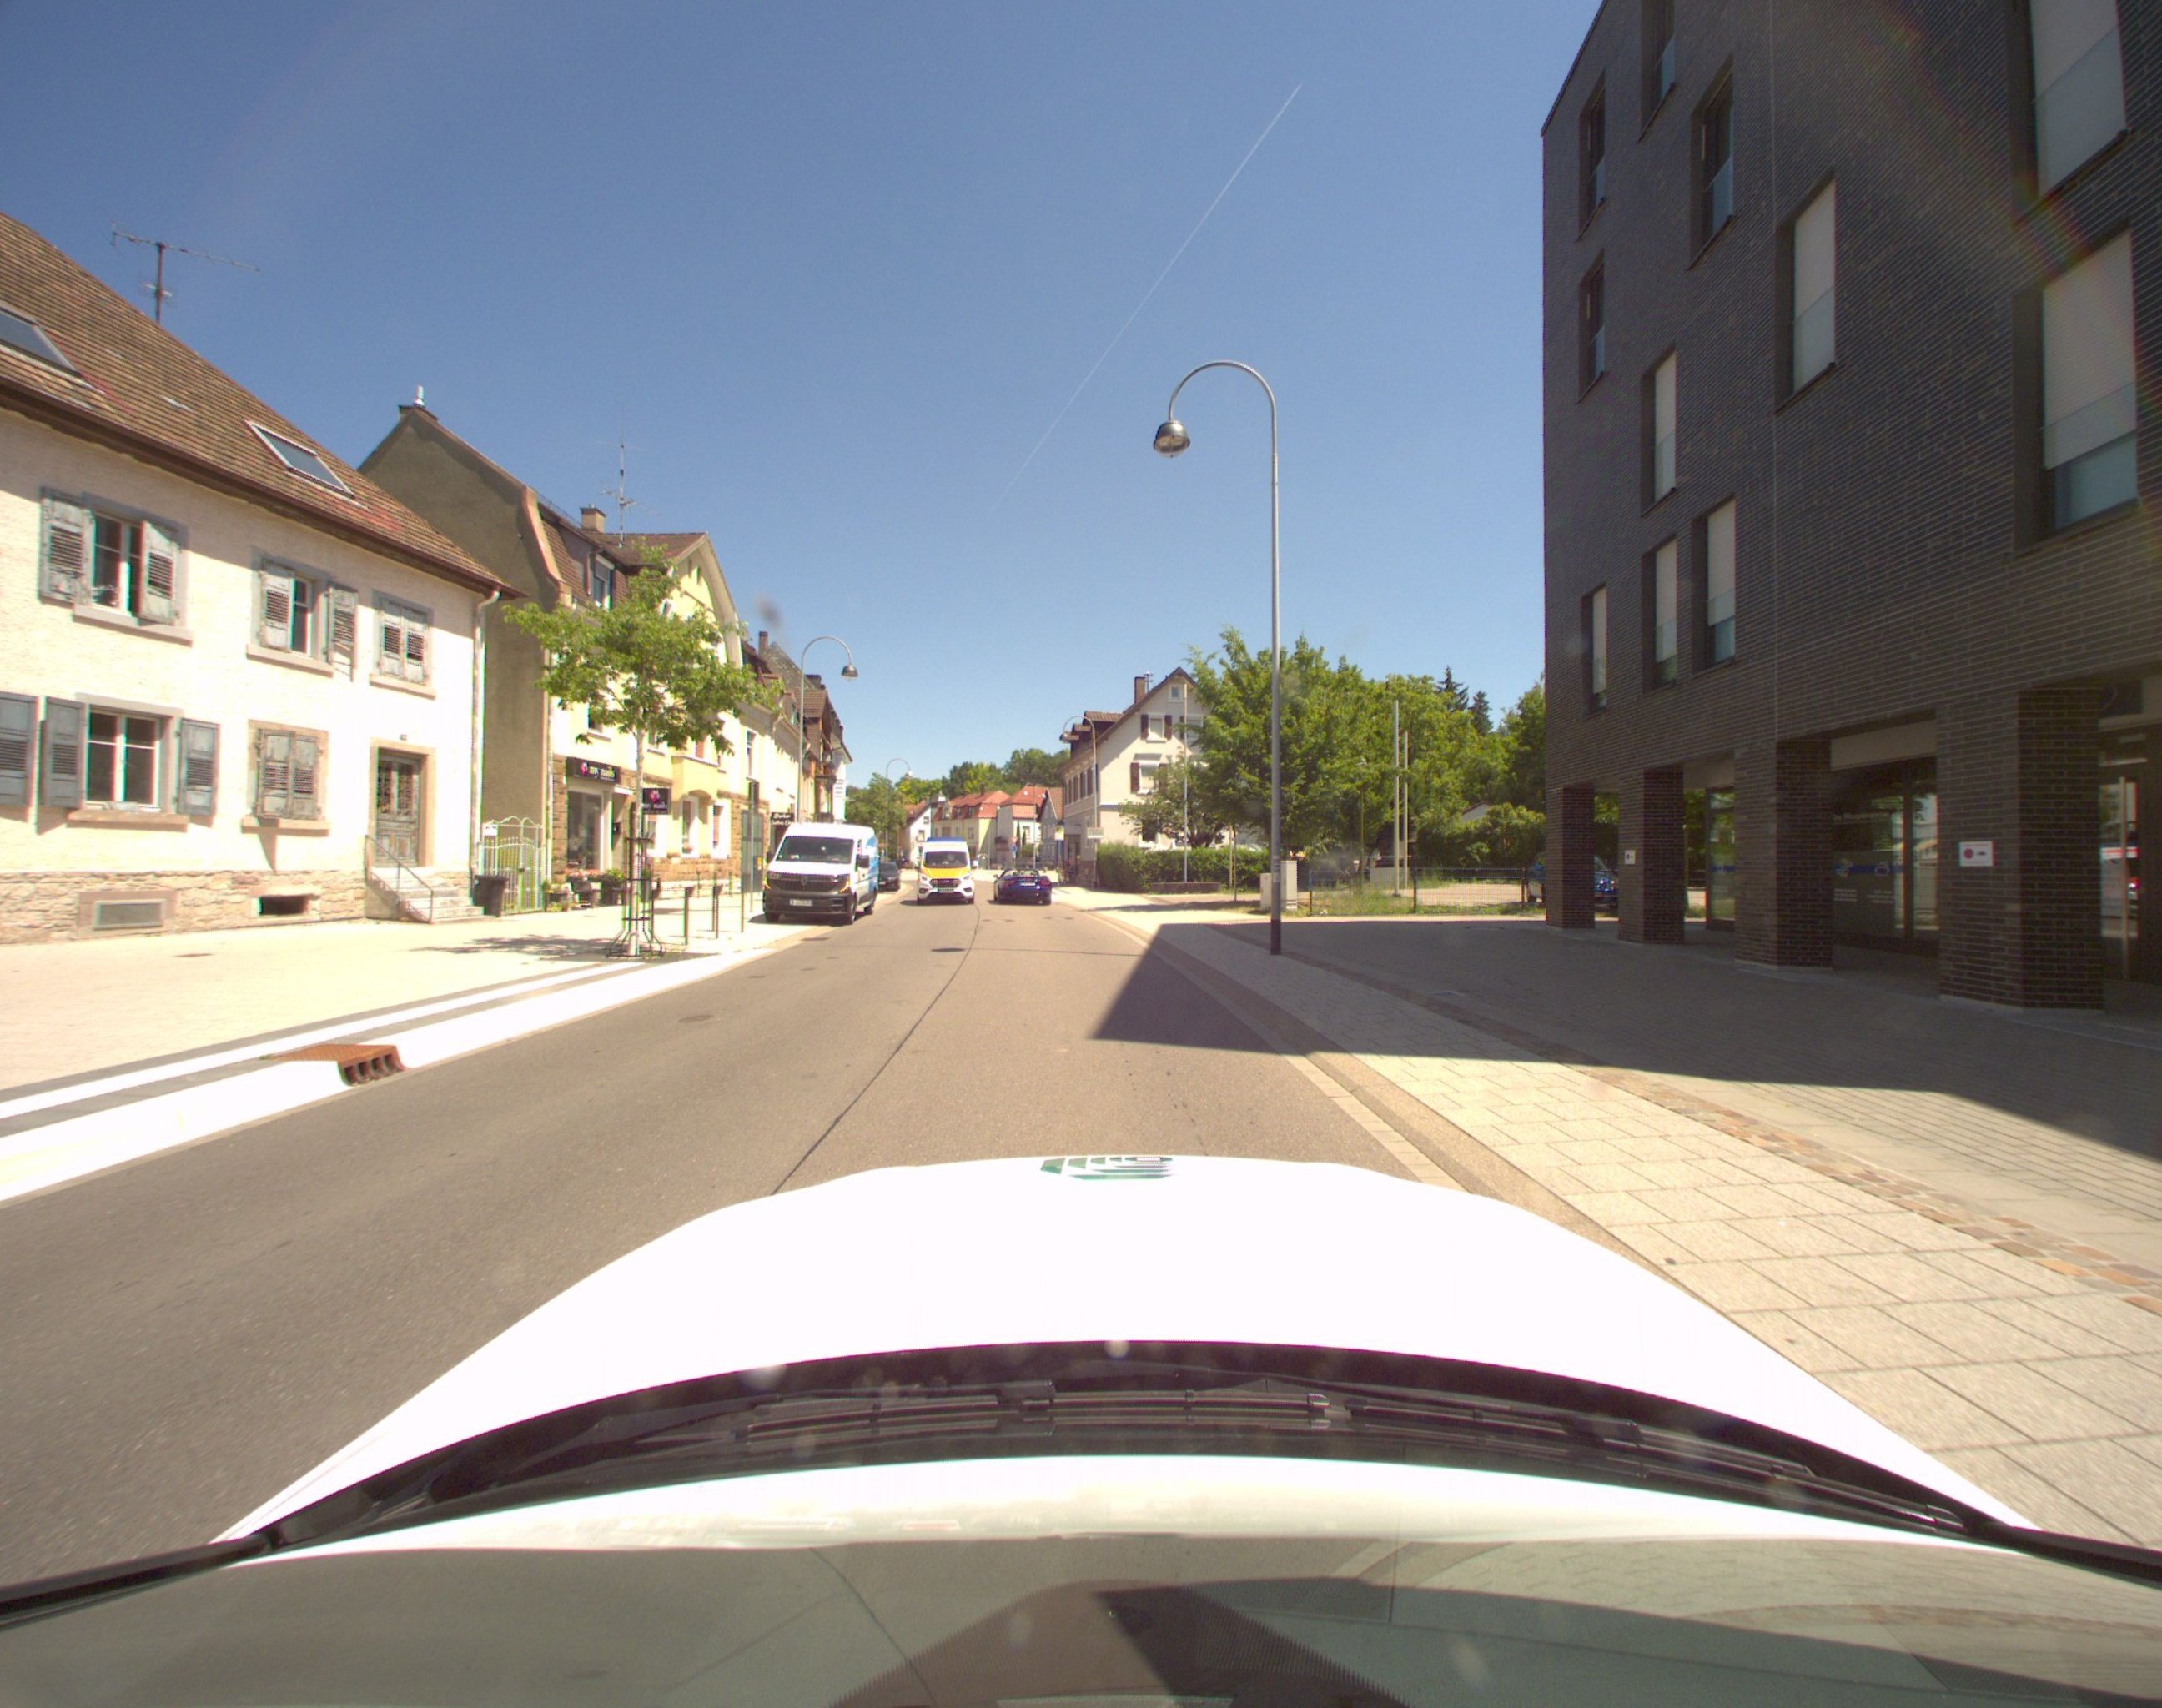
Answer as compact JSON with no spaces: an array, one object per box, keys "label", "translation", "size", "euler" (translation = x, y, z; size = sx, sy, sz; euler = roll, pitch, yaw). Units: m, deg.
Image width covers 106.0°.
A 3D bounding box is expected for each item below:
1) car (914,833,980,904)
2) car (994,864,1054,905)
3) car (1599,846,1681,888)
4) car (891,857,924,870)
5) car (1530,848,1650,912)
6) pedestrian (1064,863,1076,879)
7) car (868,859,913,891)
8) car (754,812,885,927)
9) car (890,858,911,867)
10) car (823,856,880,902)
[{"label":"car","translation":[-4.858,0.514,30.035],"size":[2.155,2.362,5.232],"euler":[-1,0,-8]},{"label":"car","translation":[-2.173,1.073,30.258],"size":[1.909,1.360,4.273],"euler":[1,-1,-8]},{"label":"car","translation":[20.481,0.444,30.011],"size":[1.853,1.441,4.023],"euler":[-1,0,25]},{"label":"car","translation":[-19.021,1.040,89.126],"size":[2.009,1.329,4.154],"euler":[-1,0,-36]},{"label":"car","translation":[12.790,0.587,20.739],"size":[1.796,1.441,4.194],"euler":[0,0,20]},{"label":"pedestrian","translation":[-0.700,1.049,51.445],"size":[0.590,0.999,0.721],"euler":[-1,0,-11]},{"label":"car","translation":[-9.771,1.024,42.015],"size":[1.915,1.482,4.322],"euler":[3,-1,-10]},{"label":"car","translation":[-6.508,0.378,20.986],"size":[2.090,2.498,5.489],"euler":[2,-1,-7]},{"label":"car","translation":[-31.458,1.435,141.764],"size":[1.865,1.588,3.953],"euler":[-1,0,-40]},{"label":"car","translation":[-8.111,0.887,29.025],"size":[1.560,1.521,3.503],"euler":[1,-2,-10]}]
